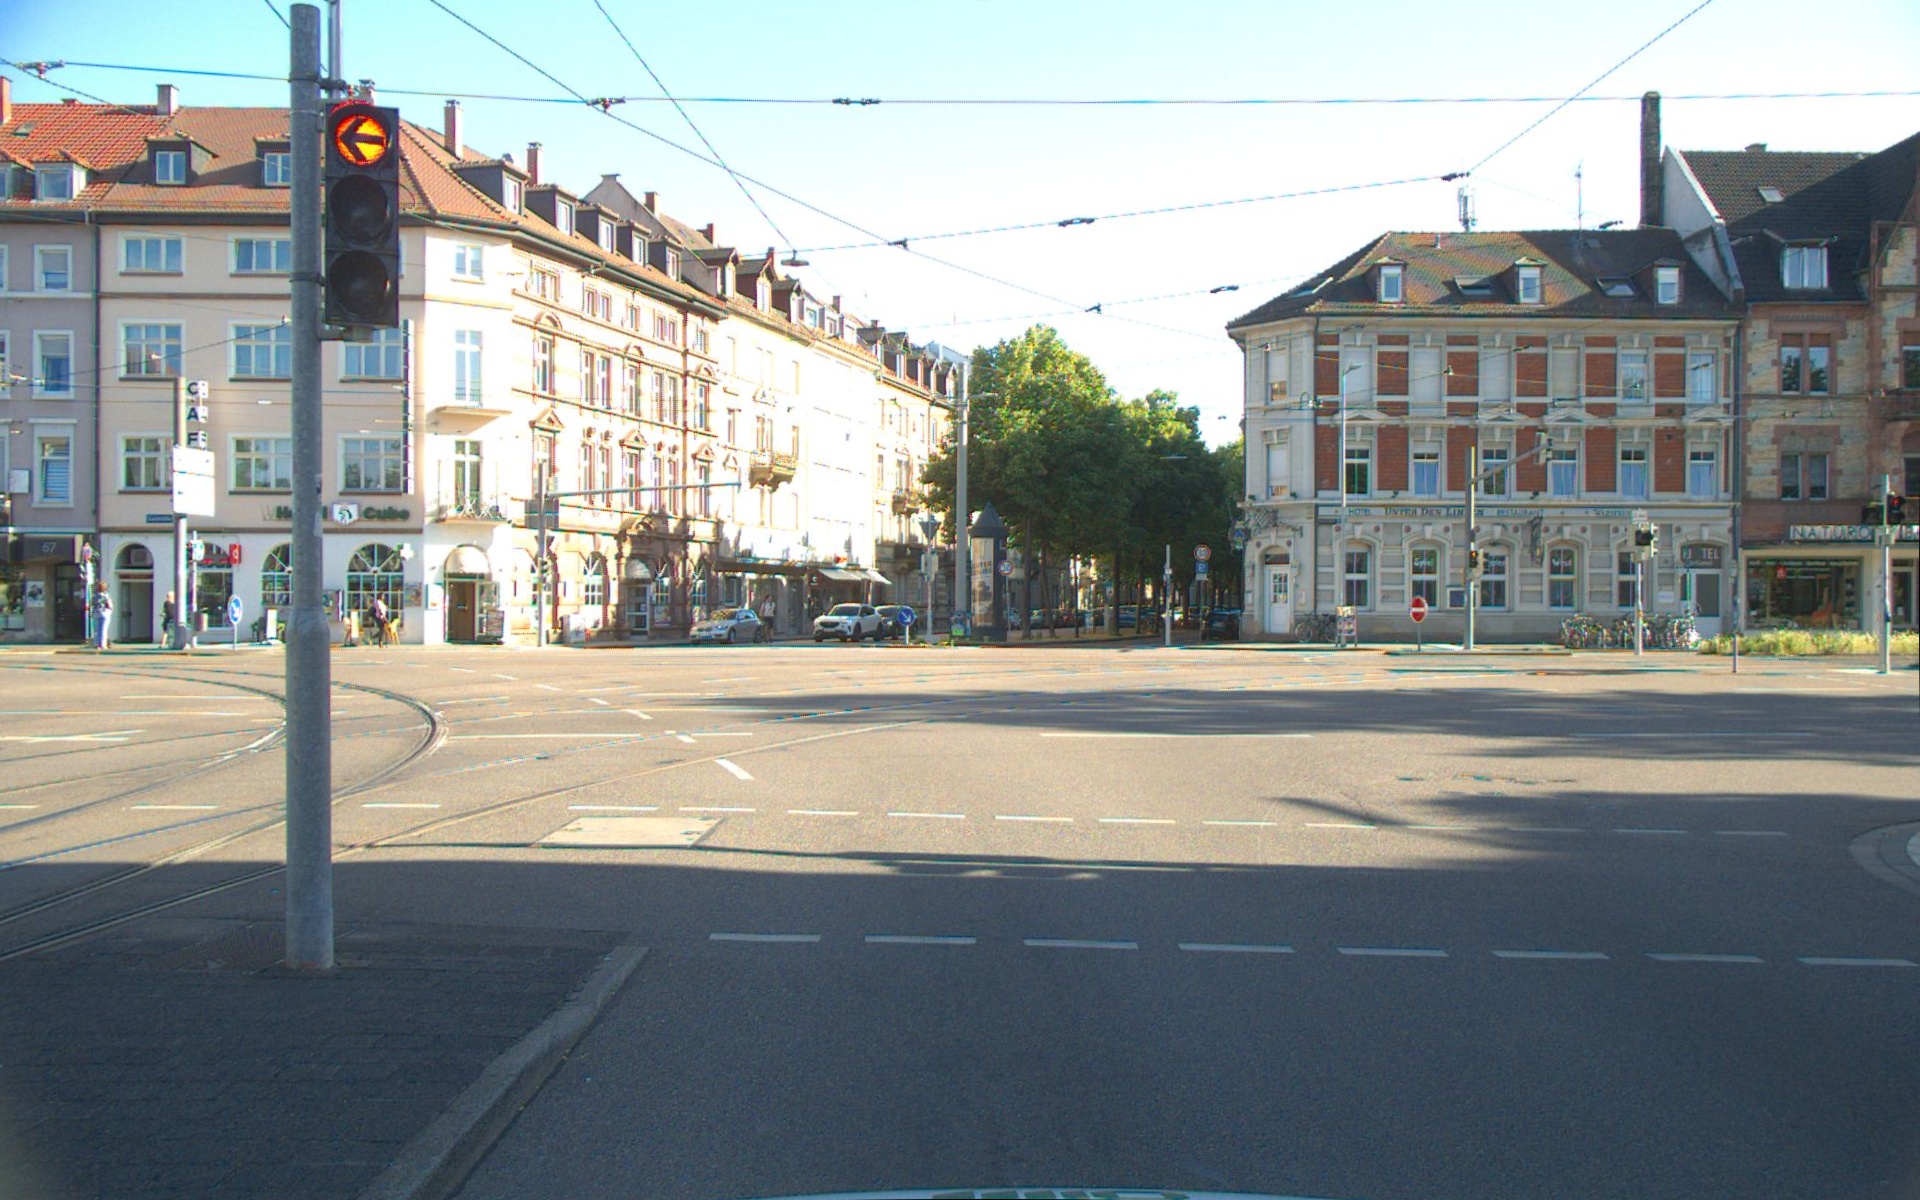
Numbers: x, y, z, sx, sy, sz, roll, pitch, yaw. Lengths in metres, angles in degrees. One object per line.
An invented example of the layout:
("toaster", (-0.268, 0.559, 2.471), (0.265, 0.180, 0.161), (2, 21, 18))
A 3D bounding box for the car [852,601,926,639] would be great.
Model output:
("car", (-3.146, 0.854, 73.789), (1.951, 1.640, 4.393), (0, 0, 17))

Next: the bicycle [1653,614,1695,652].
("bicycle", (23.040, 1.050, 53.401), (0.596, 1.156, 2.136), (0, 0, 4))

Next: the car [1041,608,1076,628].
("car", (7.779, 1.410, 130.564), (1.798, 1.579, 4.393), (0, 0, 16))

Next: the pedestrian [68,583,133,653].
("pedestrian", (-21.563, 0.444, 41.494), (1.058, 1.714, 1.103), (0, 0, -1))

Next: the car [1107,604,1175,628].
("car", (12.652, 1.096, 115.521), (4.290, 1.640, 1.998), (0, 0, 26))

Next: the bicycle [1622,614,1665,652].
("bicycle", (22.076, 1.047, 53.453), (0.605, 1.163, 2.175), (0, 0, 4))

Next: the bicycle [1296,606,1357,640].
("bicycle", (12.754, 0.811, 57.585), (2.045, 1.144, 0.366), (1, -1, -5))

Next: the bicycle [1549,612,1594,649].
("bicycle", (19.825, 0.981, 53.661), (0.789, 1.163, 2.175), (0, 0, 4))

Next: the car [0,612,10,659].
("car", (-32.395, 1.138, 51.945), (3.907, 1.478, 1.999), (0, 0, -3))

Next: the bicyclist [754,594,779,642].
("bicyclist", (-7.582, 0.687, 64.932), (0.664, 1.852, 1.071), (0, 0, 12))

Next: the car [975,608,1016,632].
("car", (2.412, 1.315, 110.992), (1.951, 1.512, 4.003), (0, 0, 13))

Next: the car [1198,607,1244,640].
("car", (13.072, 1.151, 82.636), (1.951, 1.613, 4.003), (0, 0, 13))

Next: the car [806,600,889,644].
("car", (-4.540, 0.877, 67.254), (1.951, 1.713, 4.393), (0, 0, 17))

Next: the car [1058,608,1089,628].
("car", (9.391, 1.449, 136.465), (1.727, 1.576, 4.394), (0, 0, 16))

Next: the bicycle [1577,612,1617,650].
("bicycle", (20.596, 0.991, 53.542), (0.605, 1.163, 2.175), (0, 0, 4))

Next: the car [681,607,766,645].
("car", (-9.523, 1.028, 66.900), (1.858, 1.481, 4.002), (0, 0, 17))

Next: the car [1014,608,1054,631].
("car", (5.526, 1.414, 122.740), (1.951, 1.640, 4.393), (0, 0, 17))

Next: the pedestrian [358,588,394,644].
("pedestrian", (-18.781, 0.516, 53.213), (1.029, 1.774, 0.805), (0, 0, -17))

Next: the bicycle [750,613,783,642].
("bicycle", (-7.593, 1.074, 64.890), (0.665, 1.085, 2.127), (0, 0, 12))

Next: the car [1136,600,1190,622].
("car", (16.417, 0.872, 133.875), (3.912, 1.736, 1.996), (0, 0, 30))

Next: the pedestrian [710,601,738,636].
("pedestrian", (-10.575, 0.818, 74.220), (0.908, 1.562, 1.138), (0, 0, 13))

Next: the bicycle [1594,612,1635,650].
("bicycle", (21.168, 0.985, 53.512), (0.605, 1.163, 2.175), (0, 0, 4))

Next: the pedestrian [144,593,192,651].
("pedestrian", (-24.889, 0.679, 52.006), (0.985, 1.806, 0.942), (0, 0, 14))
